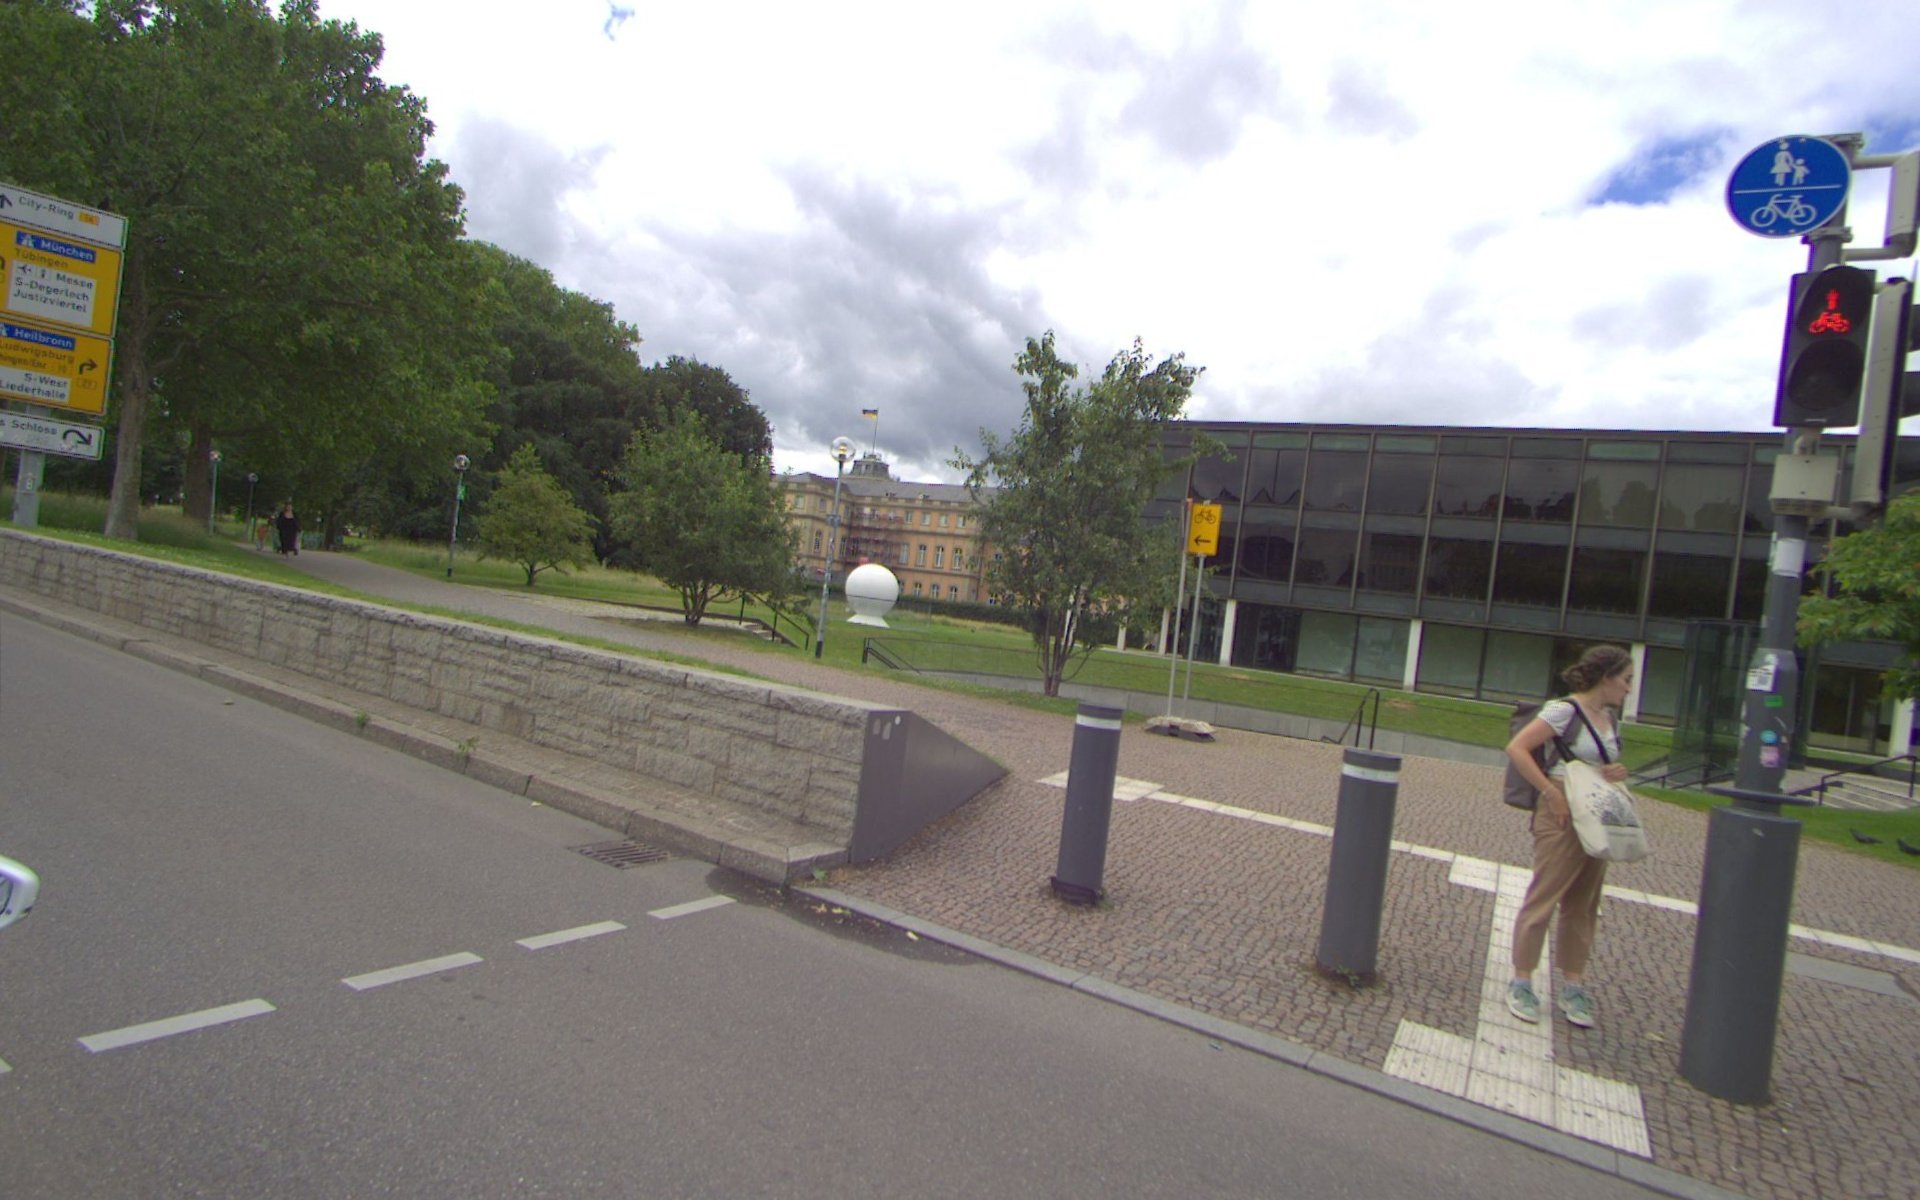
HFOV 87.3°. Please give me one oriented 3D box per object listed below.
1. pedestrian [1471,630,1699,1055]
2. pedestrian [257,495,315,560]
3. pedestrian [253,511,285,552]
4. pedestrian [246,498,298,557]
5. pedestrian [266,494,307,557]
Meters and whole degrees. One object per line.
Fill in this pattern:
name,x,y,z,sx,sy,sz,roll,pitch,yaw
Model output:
pedestrian,2.819,1.038,4.602,0.672,1.674,0.700,6,-3,29
pedestrian,-20.197,-2.164,30.164,0.952,1.752,0.898,7,-2,30
pedestrian,-24.127,-2.386,35.121,0.533,1.339,0.583,6,-3,30
pedestrian,-24.106,-2.546,35.254,1.013,1.856,0.998,6,-3,35
pedestrian,-23.141,-2.565,34.557,0.917,2.036,0.572,6,-2,31
